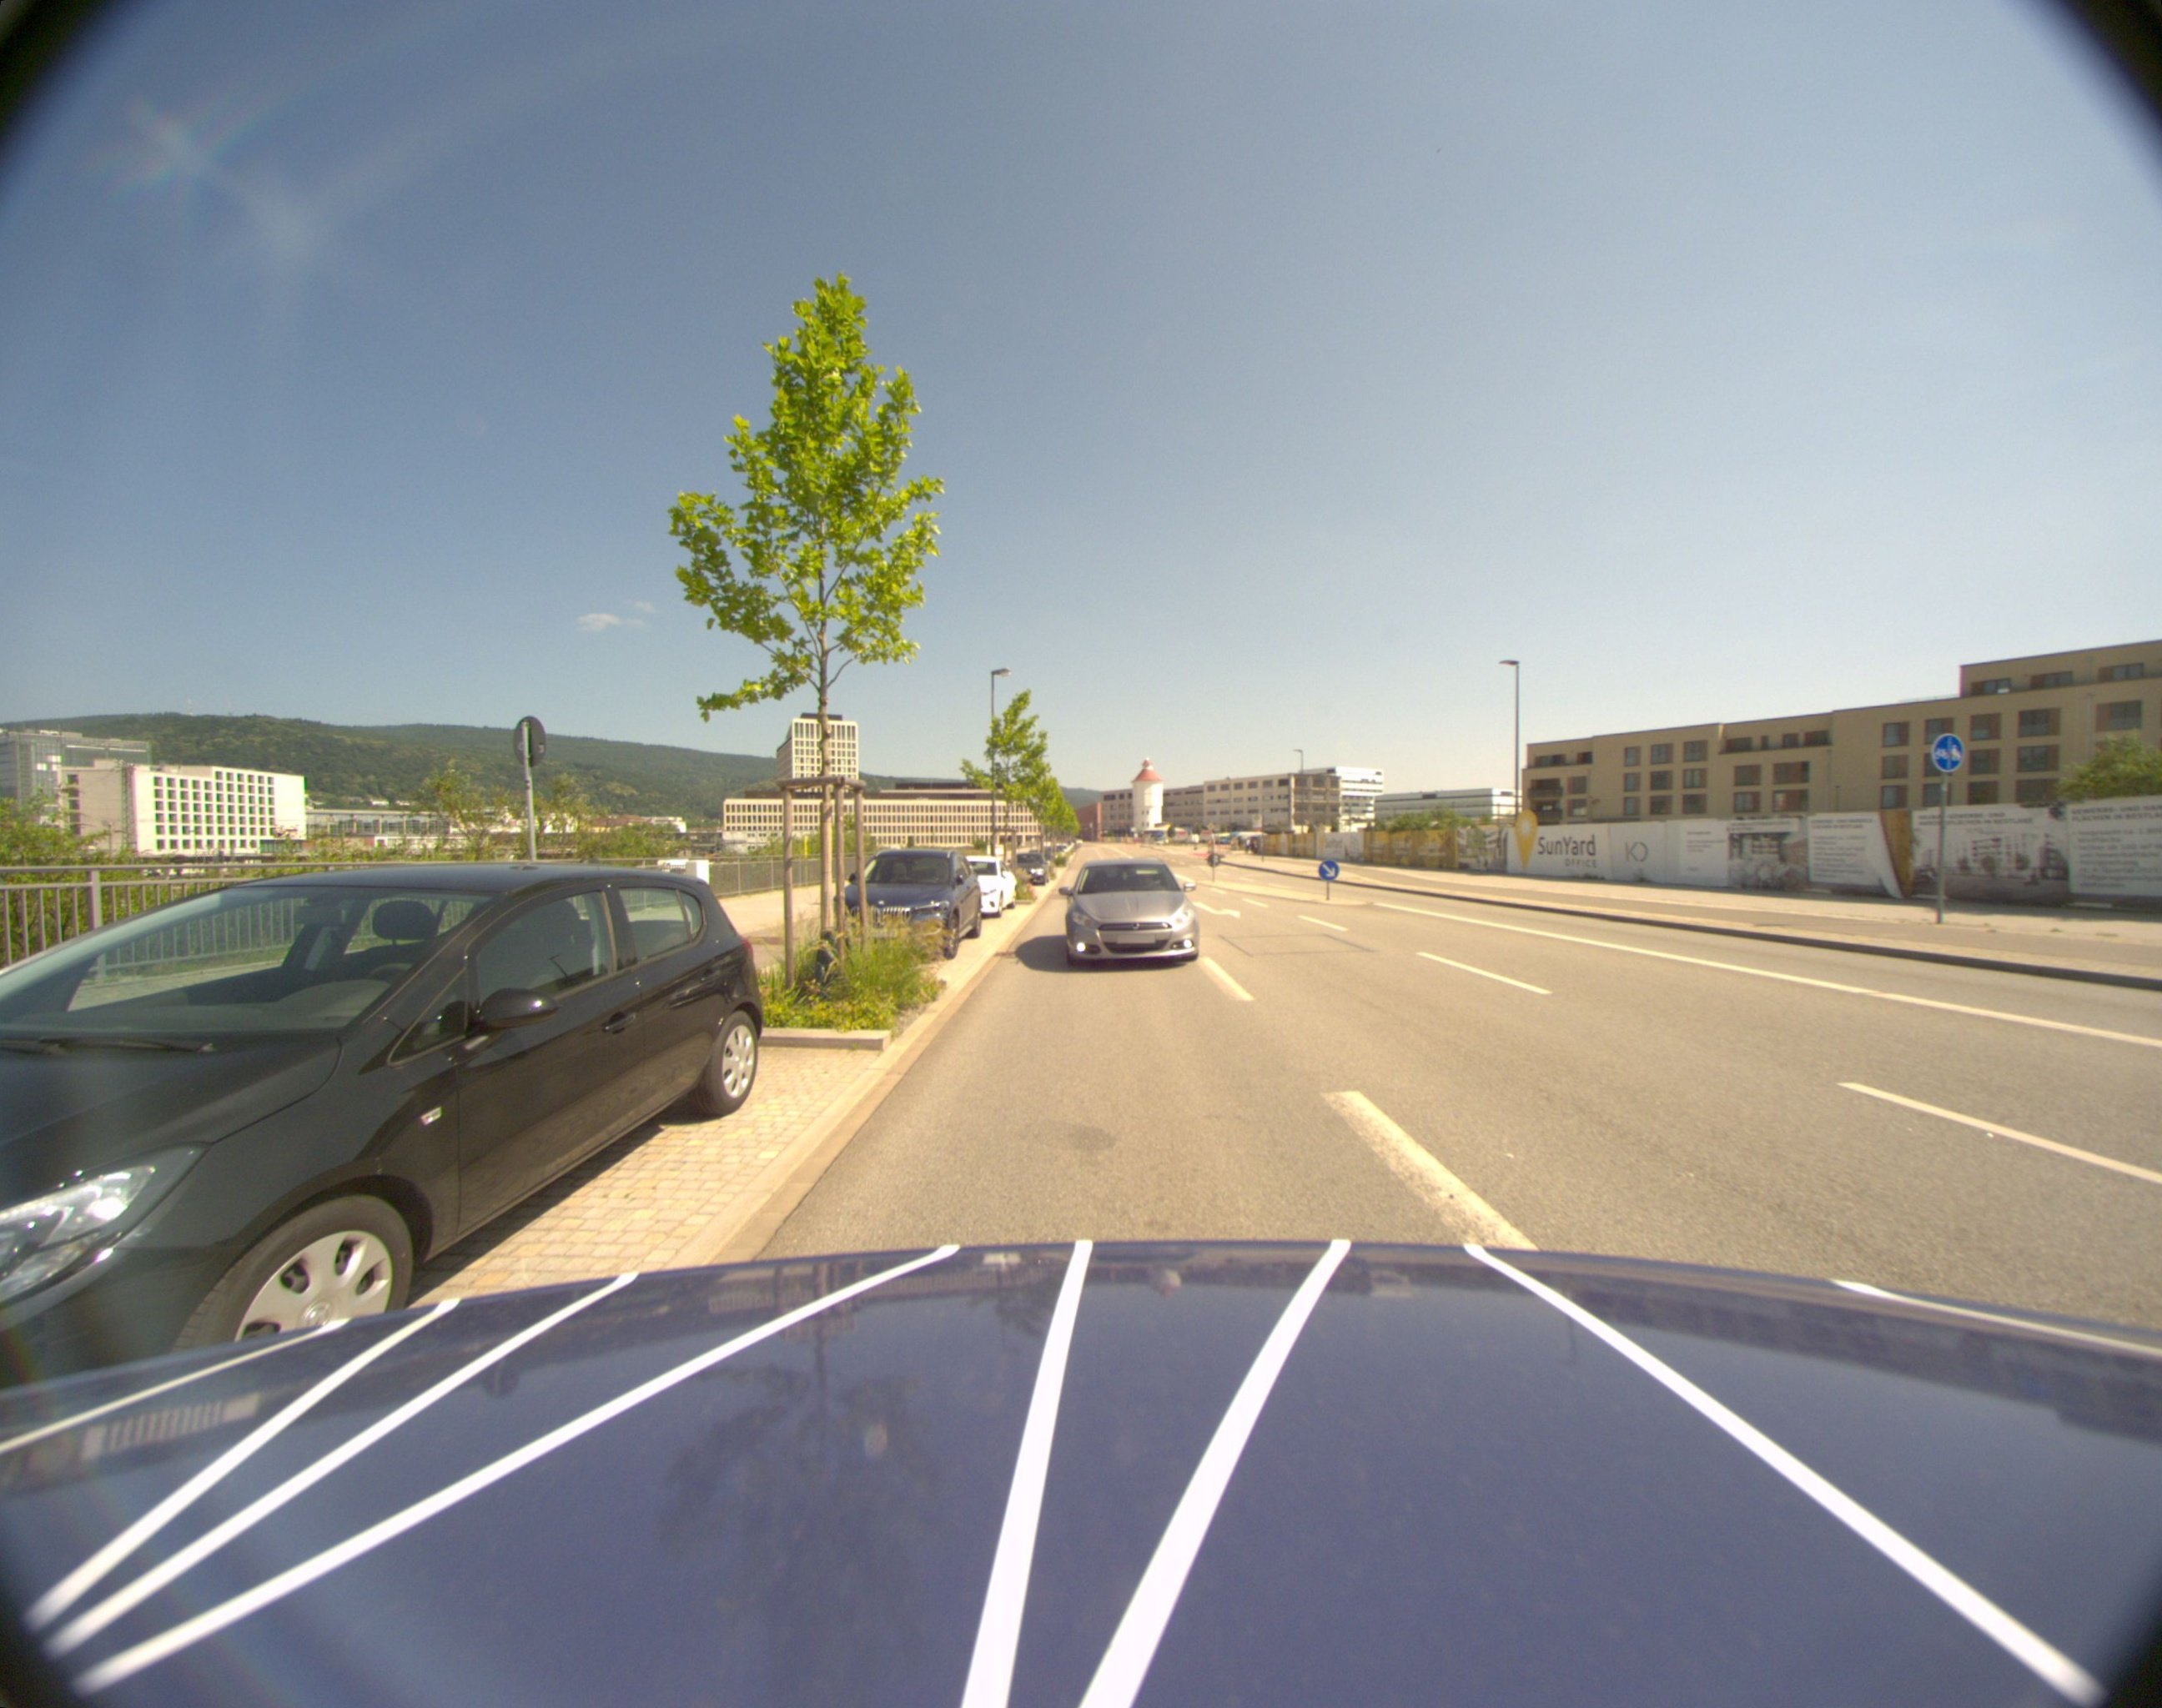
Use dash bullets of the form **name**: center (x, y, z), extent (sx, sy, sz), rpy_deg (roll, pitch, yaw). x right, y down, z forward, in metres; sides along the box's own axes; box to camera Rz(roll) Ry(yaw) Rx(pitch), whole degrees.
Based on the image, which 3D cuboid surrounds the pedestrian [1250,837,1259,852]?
- **pedestrian**: center (19.202, -1.046, 83.992), extent (0.705, 1.577, 0.617), rpy_deg (-3, 1, -35)

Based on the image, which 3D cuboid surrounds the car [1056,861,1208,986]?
- **car**: center (0.673, 0.862, 11.308), extent (1.784, 1.372, 4.136), rpy_deg (-2, 1, 1)

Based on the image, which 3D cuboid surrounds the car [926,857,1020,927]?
- **car**: center (-2.599, 0.872, 19.192), extent (1.664, 1.447, 4.000), rpy_deg (-2, 1, 1)

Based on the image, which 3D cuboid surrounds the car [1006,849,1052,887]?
- **car**: center (-2.314, 0.599, 34.884), extent (1.664, 1.529, 4.000), rpy_deg (-2, 1, 1)

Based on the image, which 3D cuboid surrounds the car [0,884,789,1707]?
- **car**: center (-2.815, 0.930, 2.979), extent (1.664, 1.418, 4.000), rpy_deg (0, 1, 2)

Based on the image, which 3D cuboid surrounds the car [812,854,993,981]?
- **car**: center (-2.634, 0.856, 12.306), extent (1.769, 1.598, 4.238), rpy_deg (-2, 1, 1)
